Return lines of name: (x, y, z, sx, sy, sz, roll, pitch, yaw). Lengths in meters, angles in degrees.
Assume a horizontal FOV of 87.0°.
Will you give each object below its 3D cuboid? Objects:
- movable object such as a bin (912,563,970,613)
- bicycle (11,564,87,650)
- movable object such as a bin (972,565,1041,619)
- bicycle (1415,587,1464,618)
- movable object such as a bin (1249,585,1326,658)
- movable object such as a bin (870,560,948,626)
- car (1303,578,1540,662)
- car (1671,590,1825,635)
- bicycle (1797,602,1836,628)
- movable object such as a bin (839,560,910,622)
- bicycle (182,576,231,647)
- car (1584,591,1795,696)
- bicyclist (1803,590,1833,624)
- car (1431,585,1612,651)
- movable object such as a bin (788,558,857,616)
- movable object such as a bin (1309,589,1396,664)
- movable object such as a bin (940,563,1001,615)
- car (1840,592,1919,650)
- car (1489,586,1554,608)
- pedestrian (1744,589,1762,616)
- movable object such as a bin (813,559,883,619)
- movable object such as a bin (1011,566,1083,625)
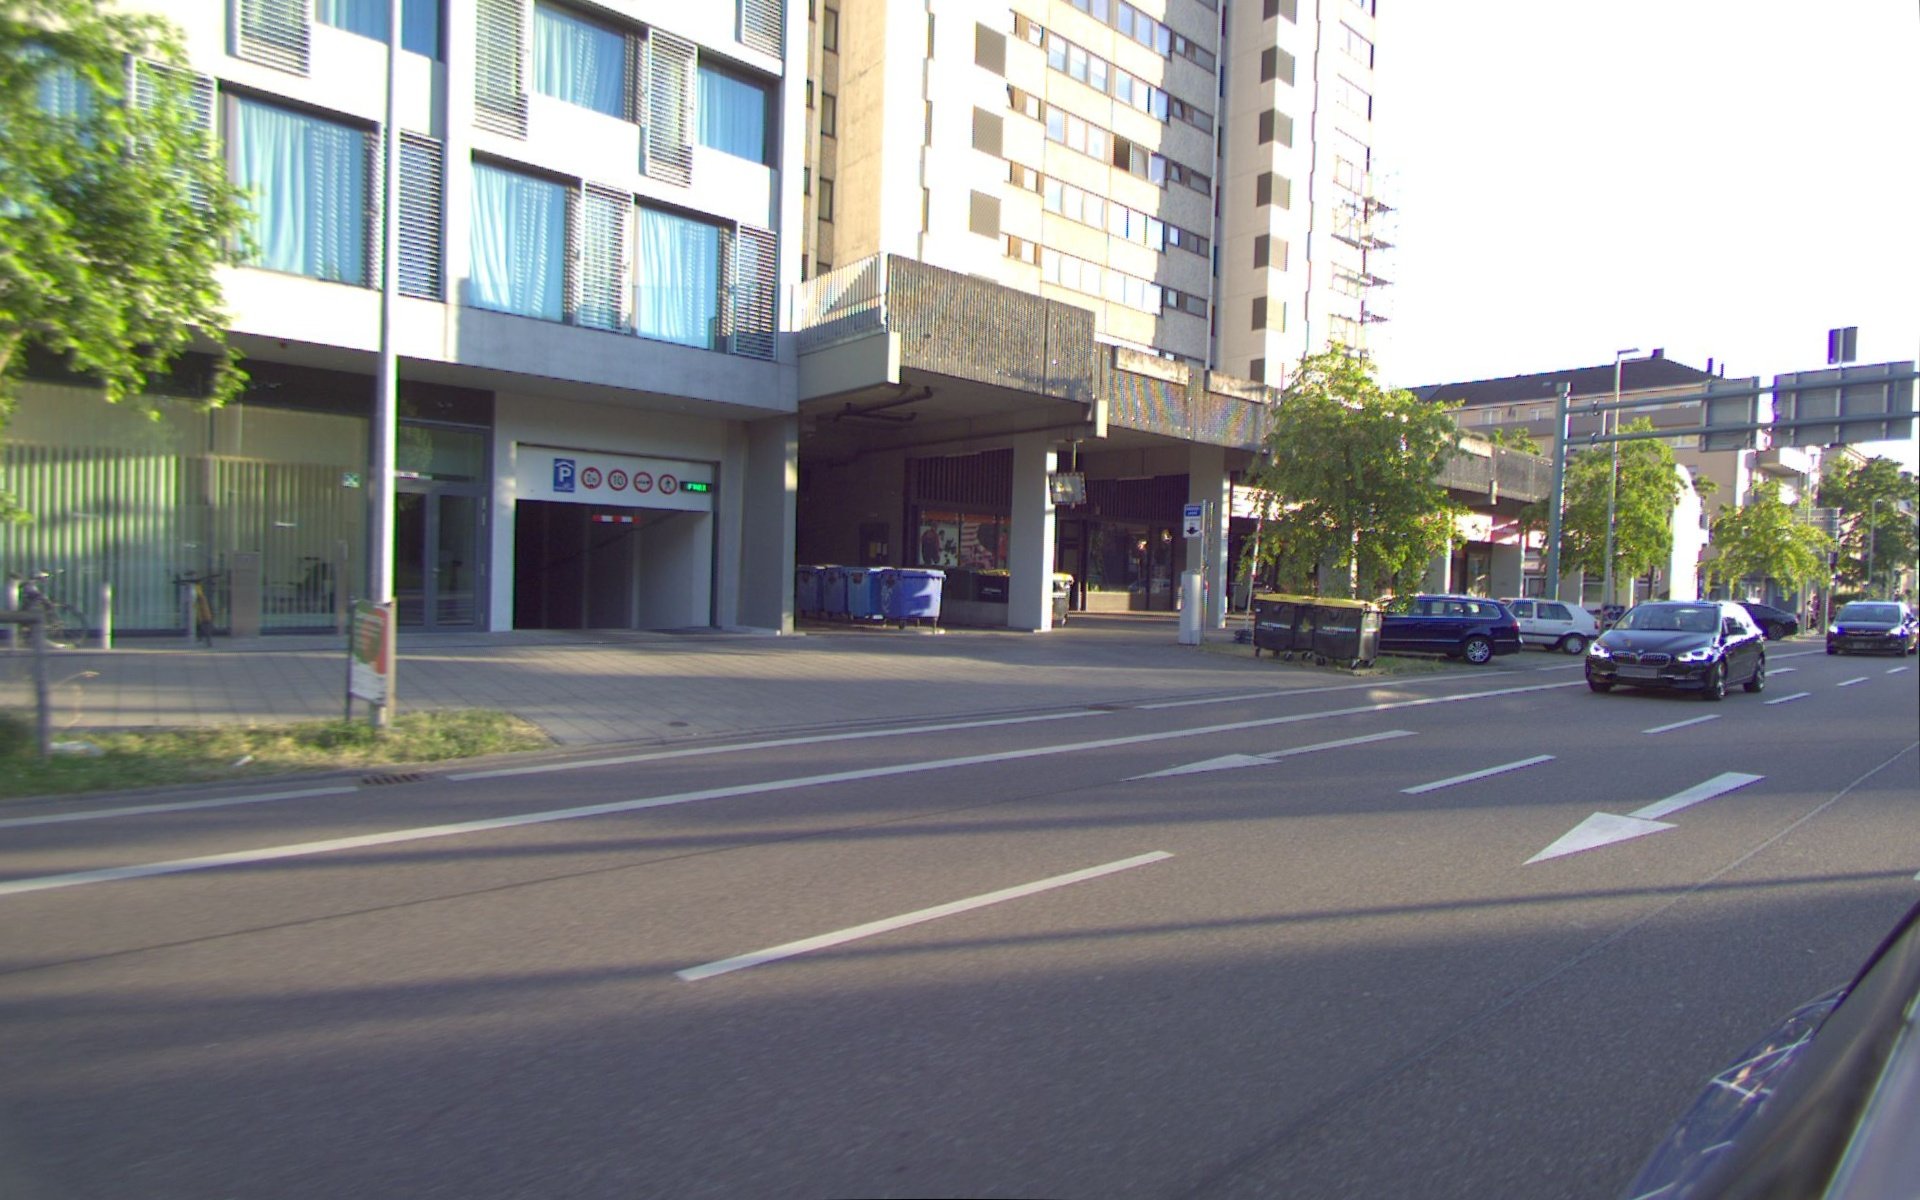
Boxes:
movable object such as a bin: (-0.541, -0.345, 28.072, 1.069, 1.329, 1.184, 1, 2, -41)
bicycle: (-12.001, 0.061, 13.315, 2.017, 0.969, 0.611, 5, 3, 44)
movable object such as a bin: (1.200, -0.214, 26.166, 1.282, 1.315, 1.184, 1, 2, -42)
bicycle: (18.392, 0.071, 38.840, 0.425, 1.061, 1.576, 1, 4, -41)
movable object such as a bin: (6.667, 0.414, 20.609, 1.142, 1.363, 1.015, 1, 4, -45)
movable object such as a bin: (-1.126, -0.160, 22.388, 1.260, 1.346, 1.107, 1, 3, -41)
car: (10.639, 0.419, 23.678, 4.596, 1.526, 1.934, 4, 3, 11)
car: (32.172, 0.491, 41.448, 4.532, 1.471, 1.810, 3, 2, 10)
bicycle: (44.204, 0.772, 52.262, 0.810, 1.187, 2.133, 3, 2, 21)
movable object such as a bin: (-1.964, -0.215, 23.176, 1.181, 1.346, 1.076, 1, 2, -41)
bicycle: (-10.524, 0.138, 14.123, 0.449, 0.902, 1.425, 1, 2, -40)
car: (12.408, 0.642, 17.085, 4.706, 1.538, 1.824, 0, 0, -40)
bicyclist: (44.161, 0.347, 52.099, 0.810, 1.713, 0.954, 3, 2, 22)
car: (15.373, 0.463, 27.918, 3.930, 1.433, 1.746, 4, 3, 12)
movable object such as a bin: (-3.383, -0.325, 24.835, 1.260, 1.346, 1.076, 1, 2, -41)
movable object such as a bin: (7.610, 0.488, 19.627, 1.085, 1.317, 1.340, 6, 4, 43)
movable object such as a bin: (0.279, -0.288, 27.184, 1.105, 1.329, 1.184, 1, 2, -41)
car: (28.095, 0.593, 30.645, 4.294, 1.619, 1.824, 0, 0, -44)
car: (44.365, -0.235, 80.063, 1.630, 1.457, 4.218, -4, 5, -44)
pedestrian: (55.134, 0.174, 70.332, 0.534, 1.882, 0.839, -1, 2, -40)
movable object such as a bin: (-2.650, -0.265, 24.039, 1.260, 1.346, 1.035, 1, 2, -41)
movable object such as a bin: (2.154, -0.126, 25.180, 1.245, 1.338, 1.184, 1, 4, -42)
